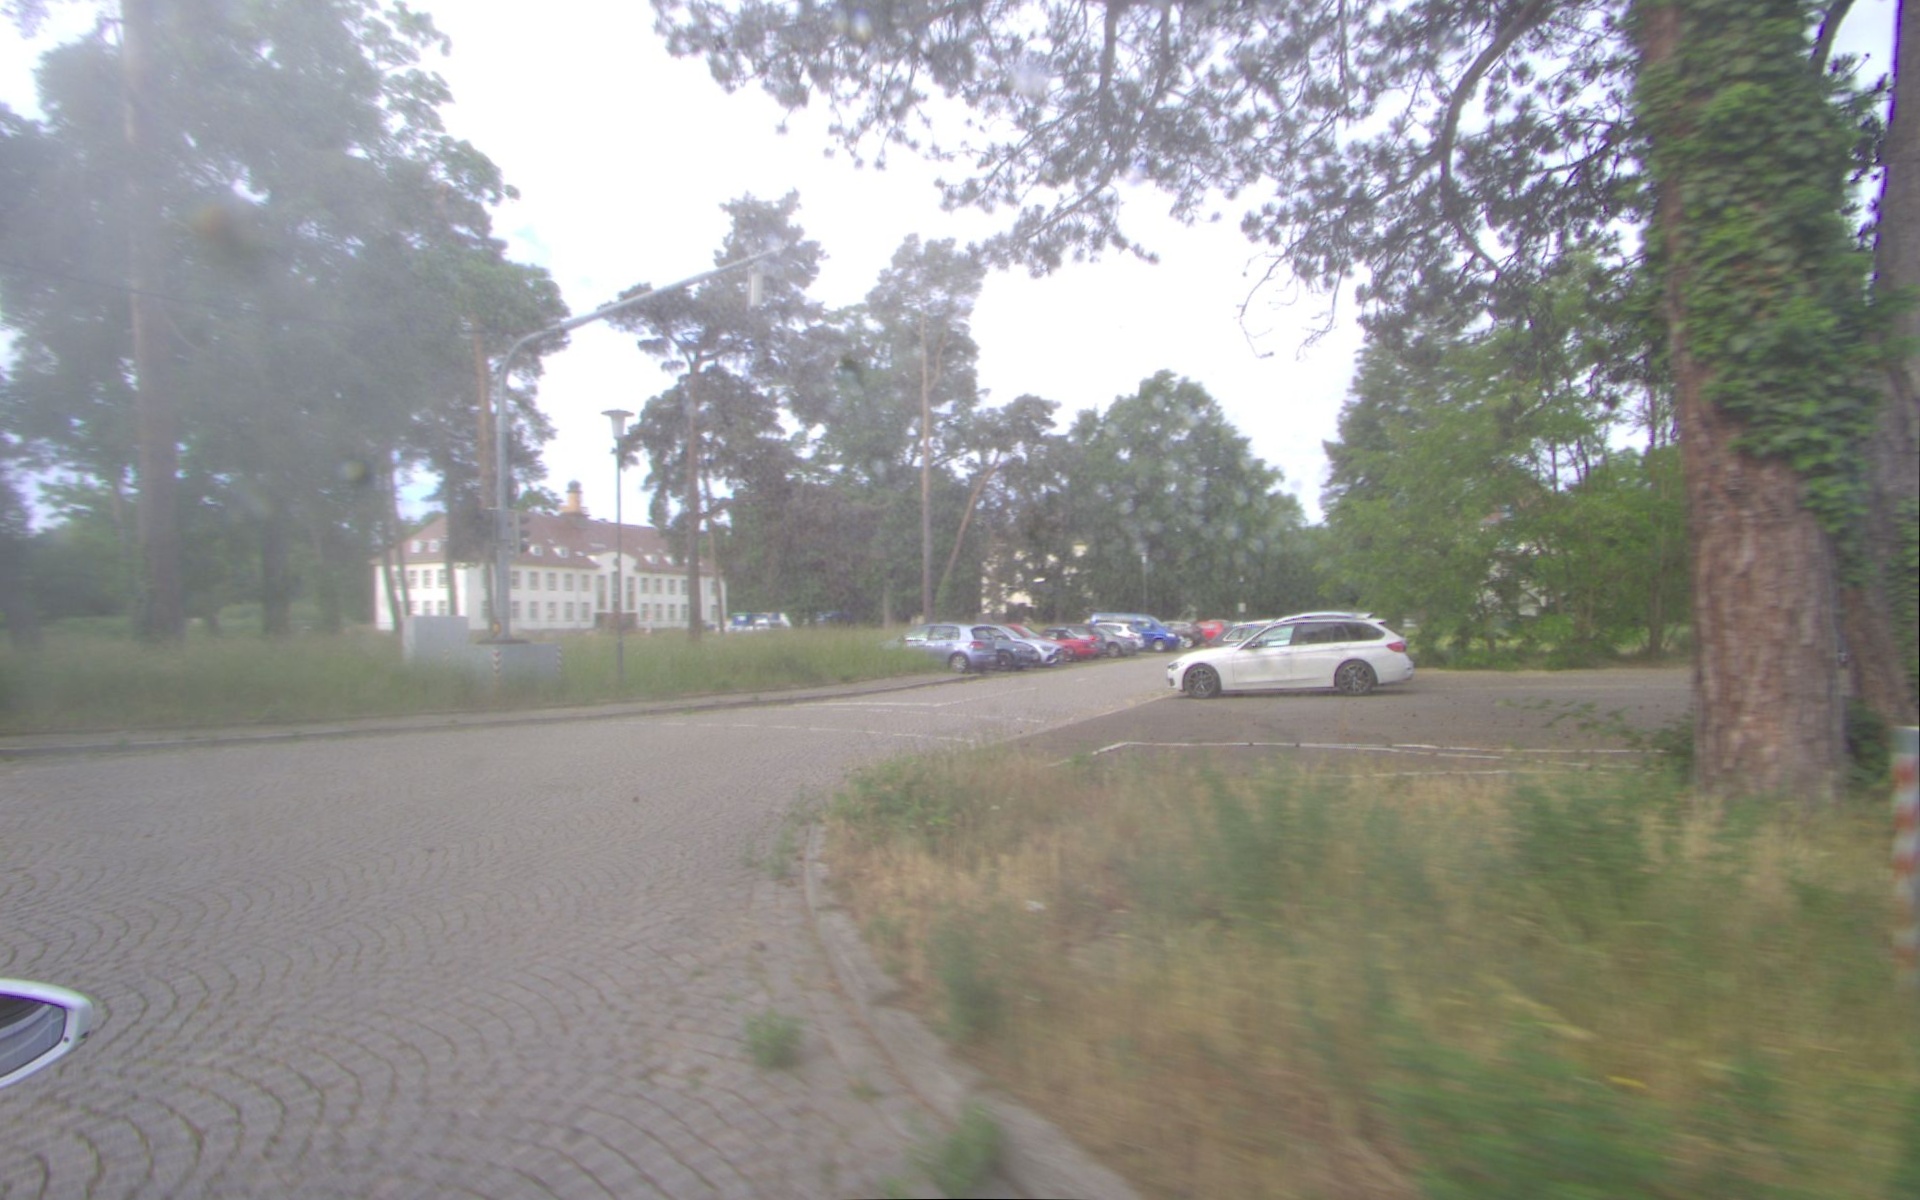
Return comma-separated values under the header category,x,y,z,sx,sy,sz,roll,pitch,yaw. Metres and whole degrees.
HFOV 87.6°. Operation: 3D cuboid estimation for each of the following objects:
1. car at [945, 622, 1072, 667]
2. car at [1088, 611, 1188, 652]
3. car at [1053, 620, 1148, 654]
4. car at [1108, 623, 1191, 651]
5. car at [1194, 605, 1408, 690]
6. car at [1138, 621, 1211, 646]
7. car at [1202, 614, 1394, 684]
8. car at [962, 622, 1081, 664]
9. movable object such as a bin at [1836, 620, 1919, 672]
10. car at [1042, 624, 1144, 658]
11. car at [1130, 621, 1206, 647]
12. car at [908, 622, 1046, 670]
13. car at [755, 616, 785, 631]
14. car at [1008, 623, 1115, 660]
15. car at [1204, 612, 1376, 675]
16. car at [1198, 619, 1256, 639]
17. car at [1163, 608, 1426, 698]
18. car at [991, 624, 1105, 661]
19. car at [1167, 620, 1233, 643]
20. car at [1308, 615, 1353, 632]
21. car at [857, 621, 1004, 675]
category,x,y,z,sx,sy,sz,roll,pitch,yaw
car,1.697,1.530,35.289,4.180,1.487,1.732,0,-1,31
car,9.263,1.613,52.146,4.714,2.052,2.136,0,-1,26
car,6.610,1.735,47.358,4.180,1.521,1.614,0,-1,31
car,10.280,1.988,54.377,4.176,1.408,1.734,0,-1,27
car,7.369,1.046,21.765,4.173,1.625,1.783,-3,-2,22
car,13.458,2.074,62.799,4.174,1.541,1.734,0,-1,25
car,8.184,1.184,24.289,4.177,1.504,1.701,-3,-2,26
car,2.292,1.596,37.632,4.180,1.487,1.732,0,-1,31
movable object such as a bin,21.299,1.028,22.529,2.173,1.148,0.962,0,-2,16
car,5.901,1.800,44.506,4.180,1.408,1.732,0,-1,31
car,12.494,2.016,60.160,4.174,1.541,1.734,0,-1,25
car,0.551,1.476,32.774,4.175,1.487,1.734,0,-1,26
car,-24.607,3.074,129.963,1.896,1.929,4.066,-1,-3,22
car,4.266,1.707,42.178,4.180,1.491,1.732,0,-1,31
car,8.874,1.178,26.994,4.177,1.504,1.701,-3,-2,26
car,21.024,2.288,78.785,4.174,1.541,1.734,0,-1,25
car,6.384,1.057,19.304,4.532,1.504,1.851,-3,-3,22
car,3.451,1.650,39.661,4.180,1.408,1.732,0,-1,31
car,16.666,2.166,69.505,4.174,1.541,1.734,0,-1,25
car,46.559,2.975,125.840,5.212,1.979,2.084,-1,-2,25
car,-0.910,1.420,30.549,4.175,1.528,1.734,0,-1,26
